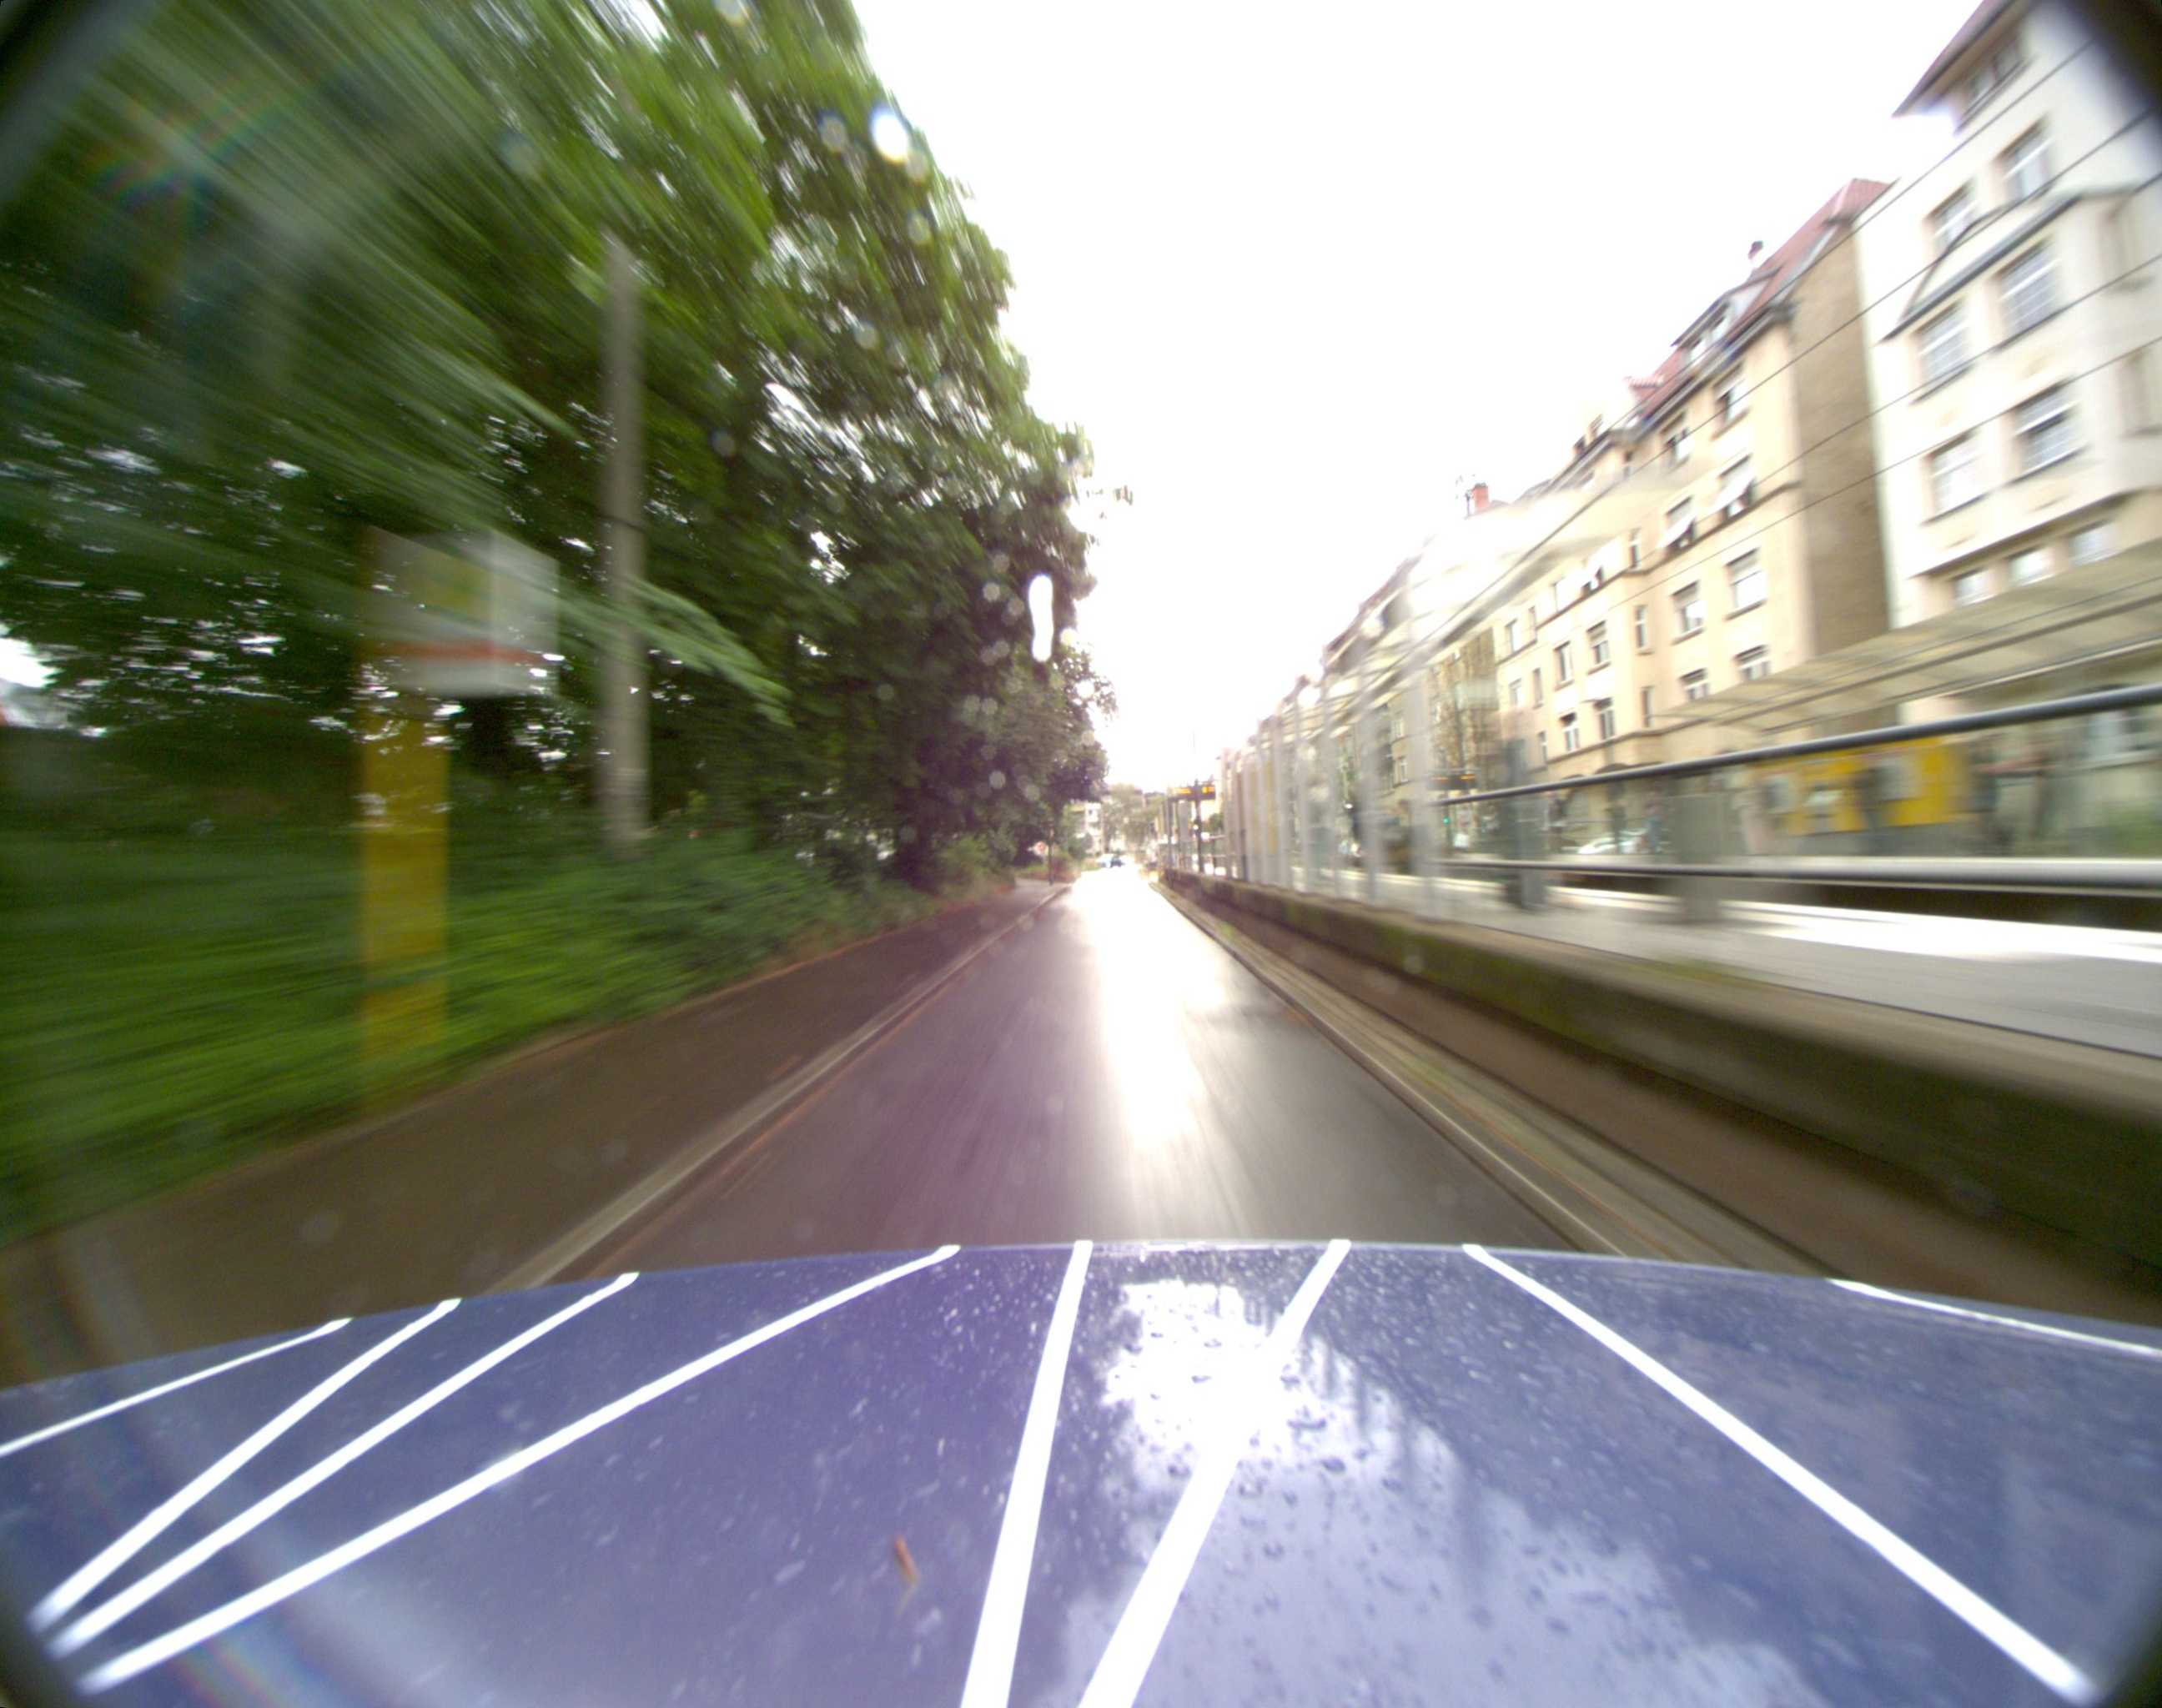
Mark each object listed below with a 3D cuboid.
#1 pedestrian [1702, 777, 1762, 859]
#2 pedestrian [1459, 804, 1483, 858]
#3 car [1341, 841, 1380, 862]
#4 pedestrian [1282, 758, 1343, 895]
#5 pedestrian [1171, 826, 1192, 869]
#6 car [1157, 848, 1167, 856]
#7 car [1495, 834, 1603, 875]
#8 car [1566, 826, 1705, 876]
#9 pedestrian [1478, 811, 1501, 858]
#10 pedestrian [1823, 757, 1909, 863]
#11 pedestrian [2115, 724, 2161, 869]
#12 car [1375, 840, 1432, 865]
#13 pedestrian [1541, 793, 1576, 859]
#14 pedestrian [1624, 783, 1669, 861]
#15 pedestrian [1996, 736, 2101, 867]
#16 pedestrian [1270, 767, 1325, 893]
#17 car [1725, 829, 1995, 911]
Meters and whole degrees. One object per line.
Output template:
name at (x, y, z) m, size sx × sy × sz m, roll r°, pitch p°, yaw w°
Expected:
pedestrian at (13.404, -0.726, 15.663) m, size 0.595 × 1.656 × 0.762 m, roll 0°, pitch 1°, yaw 2°
pedestrian at (13.647, -0.796, 26.618) m, size 0.562 × 1.839 × 0.599 m, roll 0°, pitch 1°, yaw 2°
car at (21.505, -0.177, 58.664) m, size 1.634 × 1.538 × 4.175 m, roll -2°, pitch 0°, yaw 3°
pedestrian at (3.308, -0.381, 10.895) m, size 0.591 × 1.870 × 0.711 m, roll -2°, pitch 1°, yaw 1°
pedestrian at (3.749, -0.249, 28.339) m, size 0.652 × 1.553 × 0.684 m, roll -2°, pitch 0°, yaw 3°
car at (17.941, -0.416, 168.768) m, size 1.804 × 1.824 × 4.284 m, roll -2°, pitch 0°, yaw 0°
car at (20.132, -0.033, 32.945) m, size 1.998 × 1.524 × 4.532 m, roll -4°, pitch 1°, yaw 3°
car at (19.730, -0.095, 27.325) m, size 1.927 × 1.613 × 4.536 m, roll -1°, pitch 0°, yaw 4°
pedestrian at (13.983, -0.674, 26.028) m, size 0.517 × 1.595 × 0.563 m, roll 0°, pitch 1°, yaw 2°
pedestrian at (12.649, -0.687, 12.268) m, size 0.595 × 1.656 × 0.762 m, roll 0°, pitch 1°, yaw 2°
pedestrian at (12.663, -0.659, 8.787) m, size 0.551 × 1.656 × 0.614 m, roll 0°, pitch 1°, yaw 2°
car at (20.770, -0.093, 49.169) m, size 1.721 × 1.434 × 4.869 m, roll -2°, pitch 0°, yaw 2°
pedestrian at (13.649, -0.791, 21.736) m, size 0.517 × 1.827 × 0.762 m, roll 0°, pitch 1°, yaw 2°
pedestrian at (13.528, -0.762, 18.197) m, size 0.517 × 1.827 × 0.762 m, roll 0°, pitch 1°, yaw 2°
pedestrian at (12.607, -0.668, 9.918) m, size 0.595 × 1.656 × 0.591 m, roll 0°, pitch 1°, yaw 2°
pedestrian at (3.304, -0.353, 11.638) m, size 0.591 × 1.854 × 0.711 m, roll -2°, pitch 1°, yaw 1°
car at (18.771, 0.305, 18.733) m, size 1.998 × 1.722 × 4.815 m, roll -1°, pitch 1°, yaw 5°
